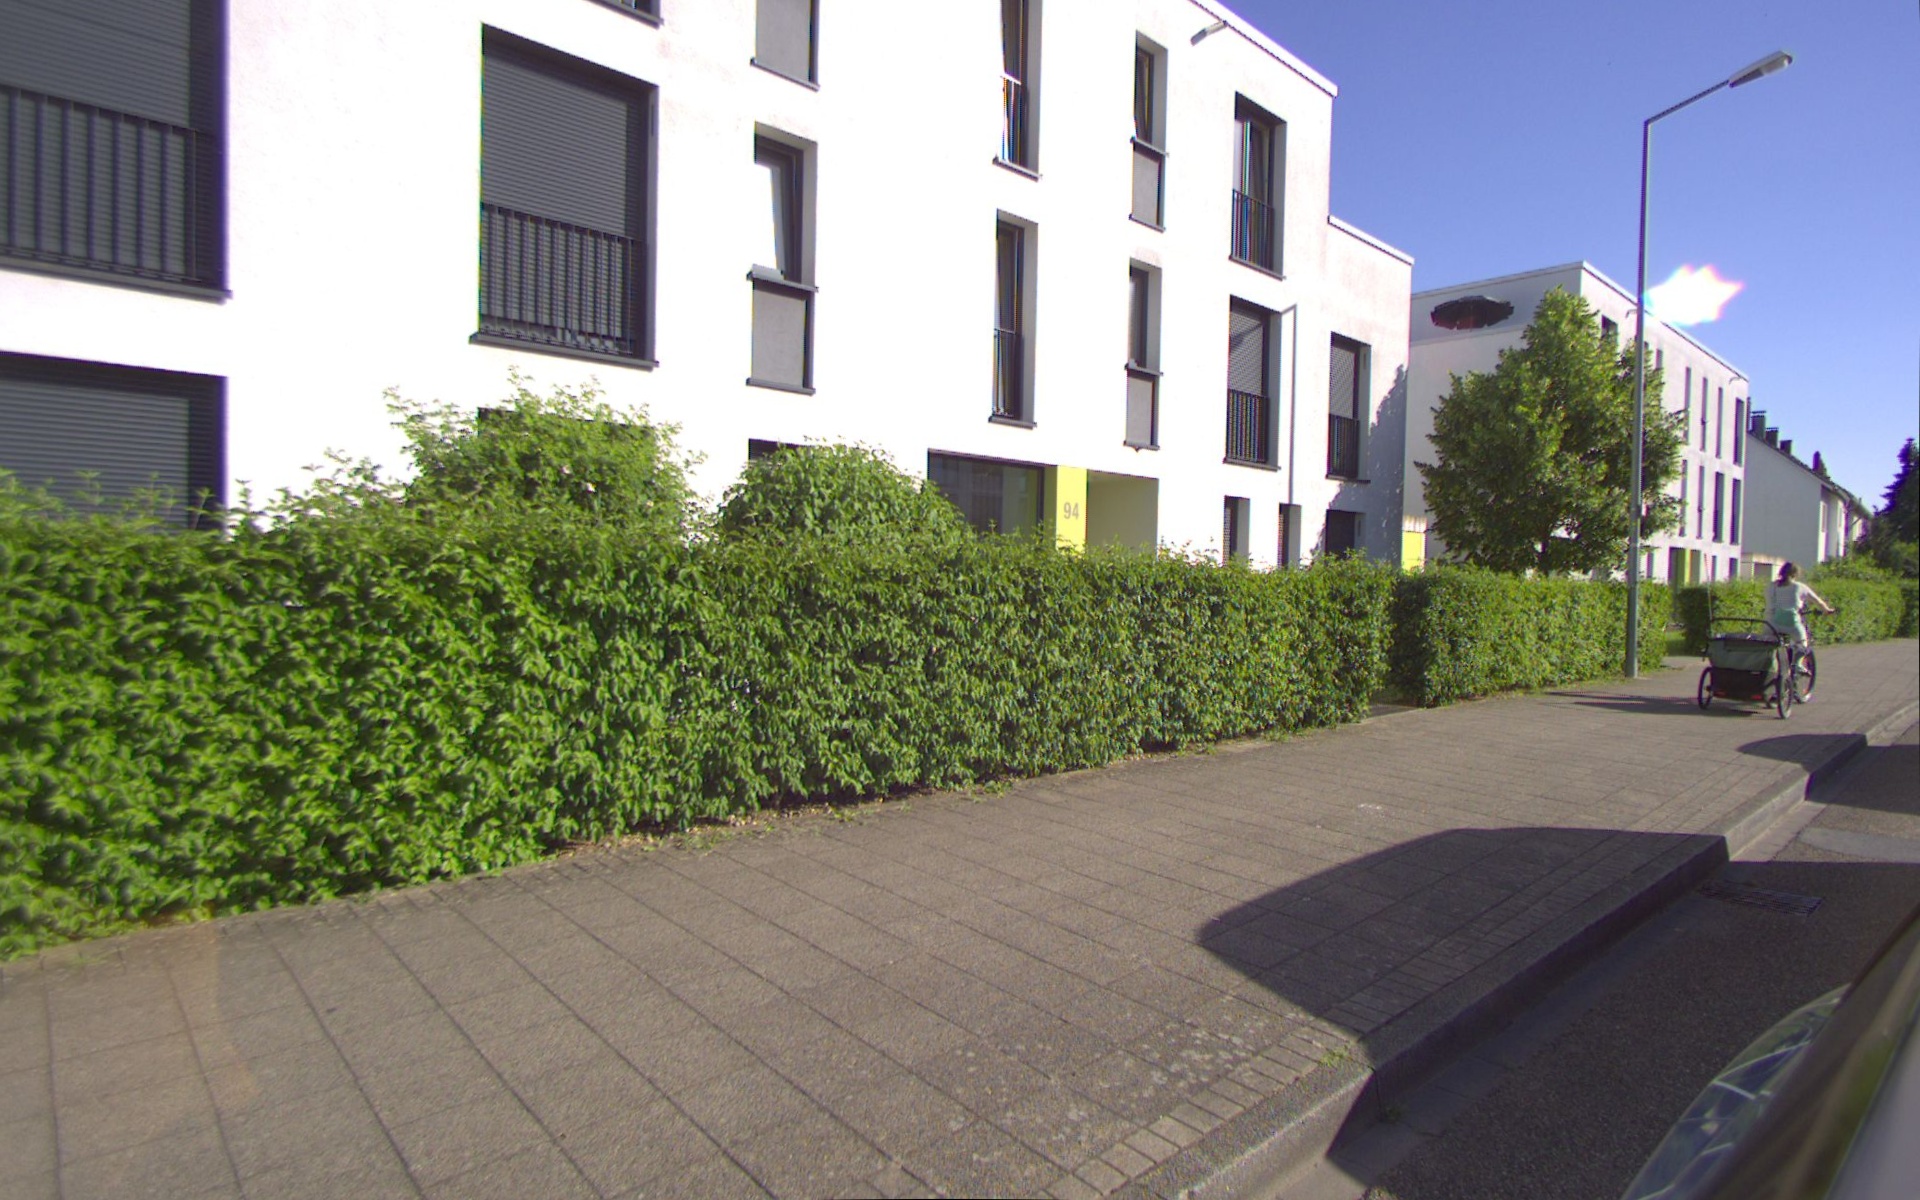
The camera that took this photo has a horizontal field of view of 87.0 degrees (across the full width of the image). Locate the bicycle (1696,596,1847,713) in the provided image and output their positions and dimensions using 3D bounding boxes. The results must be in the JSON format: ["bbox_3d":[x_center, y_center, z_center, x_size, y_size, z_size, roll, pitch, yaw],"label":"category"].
[{"bbox_3d":[9.786,0.574,12.138,3.072,1.187,0.930,-1,3,-43],"label":"bicycle"}]

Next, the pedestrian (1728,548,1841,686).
[{"bbox_3d":[10.136,0.177,12.445,0.840,1.613,0.912,0,2,-42],"label":"pedestrian"}]
